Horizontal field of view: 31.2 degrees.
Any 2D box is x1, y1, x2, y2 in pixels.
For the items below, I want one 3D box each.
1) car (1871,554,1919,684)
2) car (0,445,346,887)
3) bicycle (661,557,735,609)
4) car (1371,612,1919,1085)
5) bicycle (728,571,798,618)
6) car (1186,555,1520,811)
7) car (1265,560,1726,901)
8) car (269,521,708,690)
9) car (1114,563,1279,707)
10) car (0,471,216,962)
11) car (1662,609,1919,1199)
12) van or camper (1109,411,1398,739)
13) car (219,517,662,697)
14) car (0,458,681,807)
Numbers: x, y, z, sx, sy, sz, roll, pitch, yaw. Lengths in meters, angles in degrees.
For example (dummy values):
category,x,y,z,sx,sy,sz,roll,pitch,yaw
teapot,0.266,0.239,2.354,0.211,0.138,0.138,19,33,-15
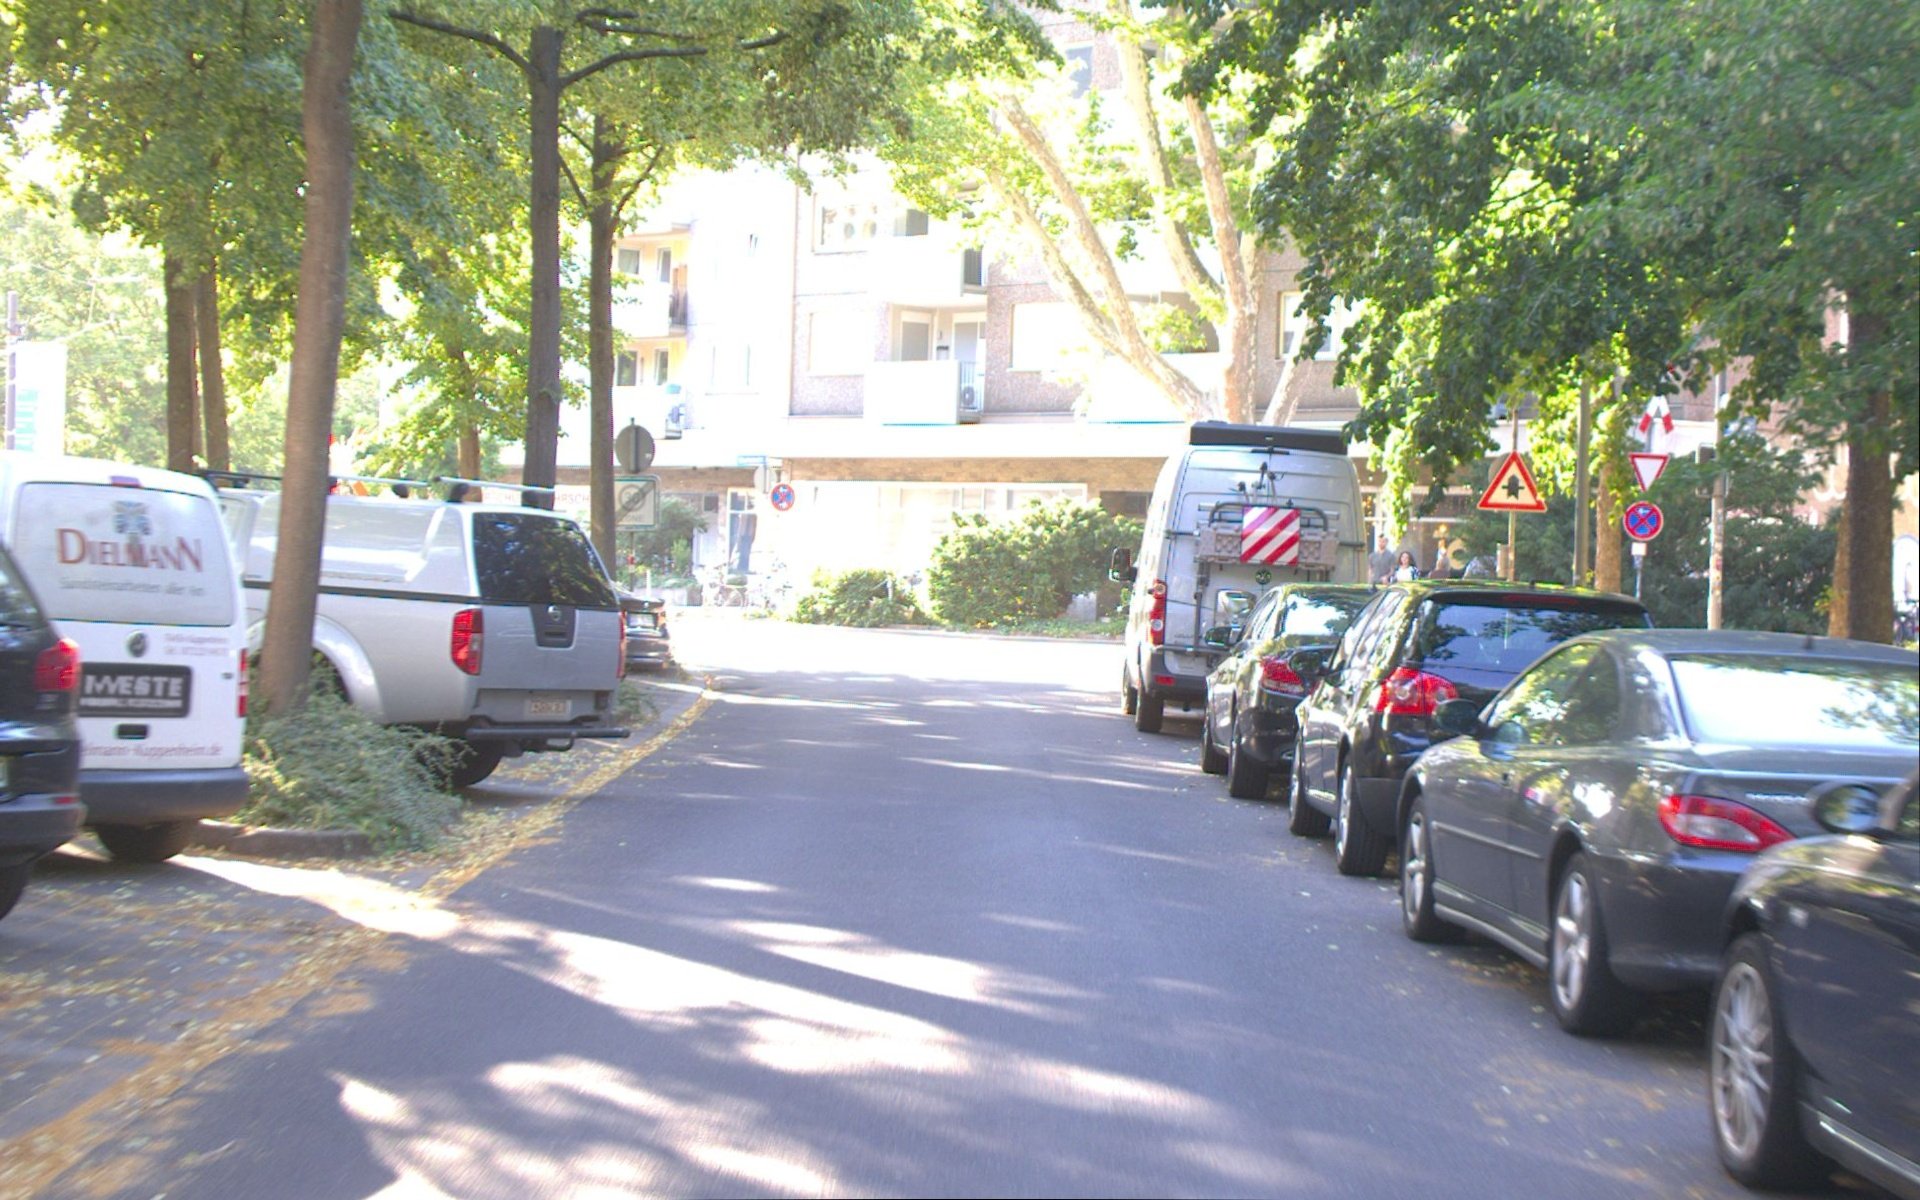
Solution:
category,x,y,z,sx,sy,sz,roll,pitch,yaw
car,13.374,0.310,41.412,4.273,1.547,1.737,2,-2,45
car,-5.029,0.152,15.689,4.156,1.775,1.880,5,1,35
bicycle,-5.449,-0.360,71.336,0.638,1.019,2.088,1,1,-32
car,2.676,0.752,12.274,1.680,1.279,4.288,2,1,-3
bicycle,-3.989,-0.106,69.488,0.542,0.901,1.736,1,1,-36
car,2.580,0.485,23.543,1.680,1.520,4.490,2,1,-1
car,2.690,0.584,18.197,1.680,1.520,4.288,2,1,-1
car,-4.998,0.050,36.454,4.192,1.434,1.829,5,1,24
car,2.668,0.360,39.472,1.680,1.441,3.871,4,1,2
car,-4.971,0.240,12.468,4.154,1.638,1.911,5,1,31
car,2.769,0.796,6.802,1.680,1.419,4.659,2,1,-1
van or camper,2.654,-0.263,32.506,2.084,2.753,5.845,2,1,-1
car,-5.123,0.063,33.917,3.865,1.434,1.829,5,1,24
car,-4.463,0.125,21.526,4.994,1.775,1.984,5,1,27
